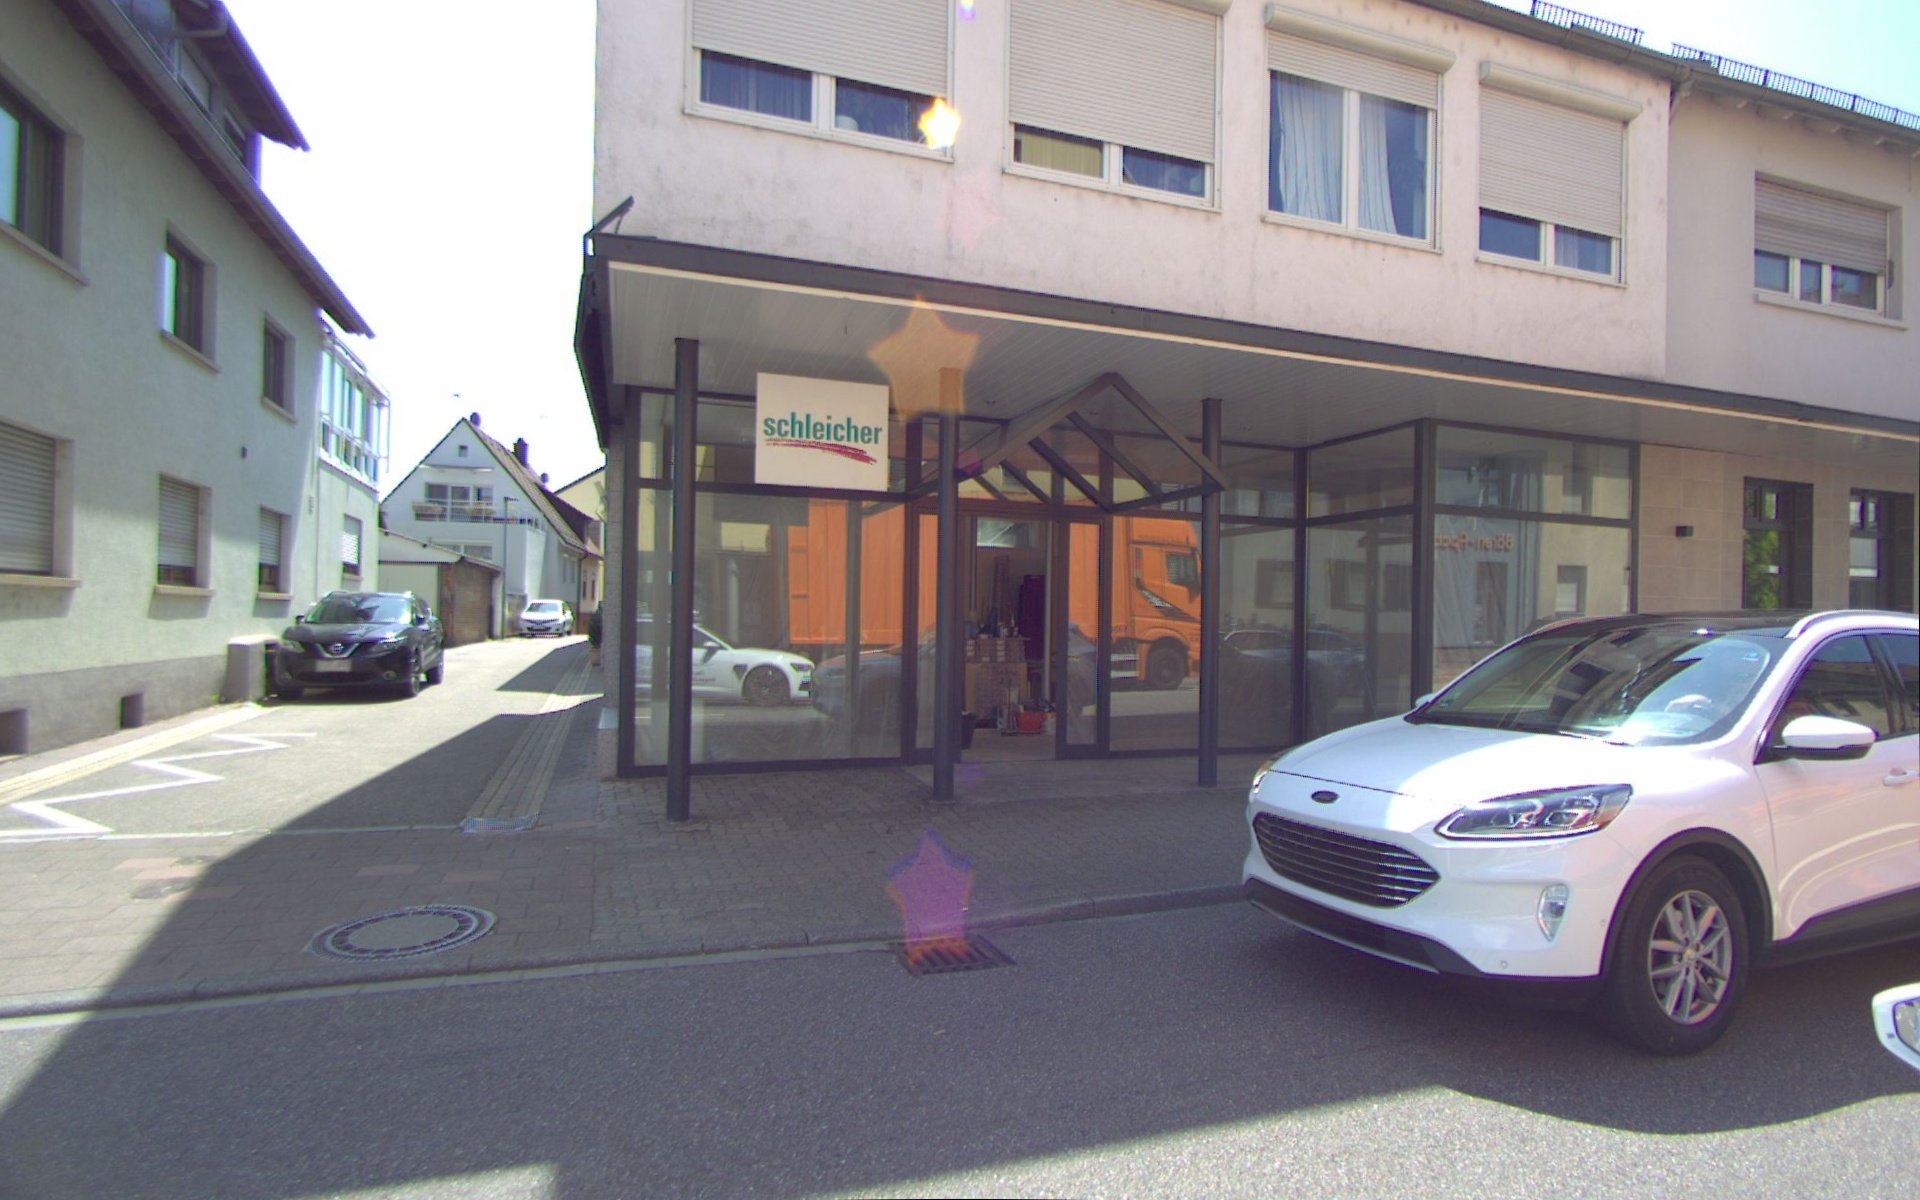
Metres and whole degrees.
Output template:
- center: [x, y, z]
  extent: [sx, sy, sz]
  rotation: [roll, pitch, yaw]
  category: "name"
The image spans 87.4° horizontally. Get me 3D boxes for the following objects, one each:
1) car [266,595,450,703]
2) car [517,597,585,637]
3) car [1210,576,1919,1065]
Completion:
- center: [-9.388, 0.709, 16.001]
  extent: [1.864, 1.483, 3.979]
  rotation: [1, -1, -22]
  category: "car"
- center: [-16.917, 0.685, 41.738]
  extent: [1.858, 1.561, 3.992]
  rotation: [1, -1, -11]
  category: "car"
- center: [3.473, 0.813, 4.917]
  extent: [4.138, 1.575, 1.815]
  rotation: [2, -3, -23]
  category: "car"
